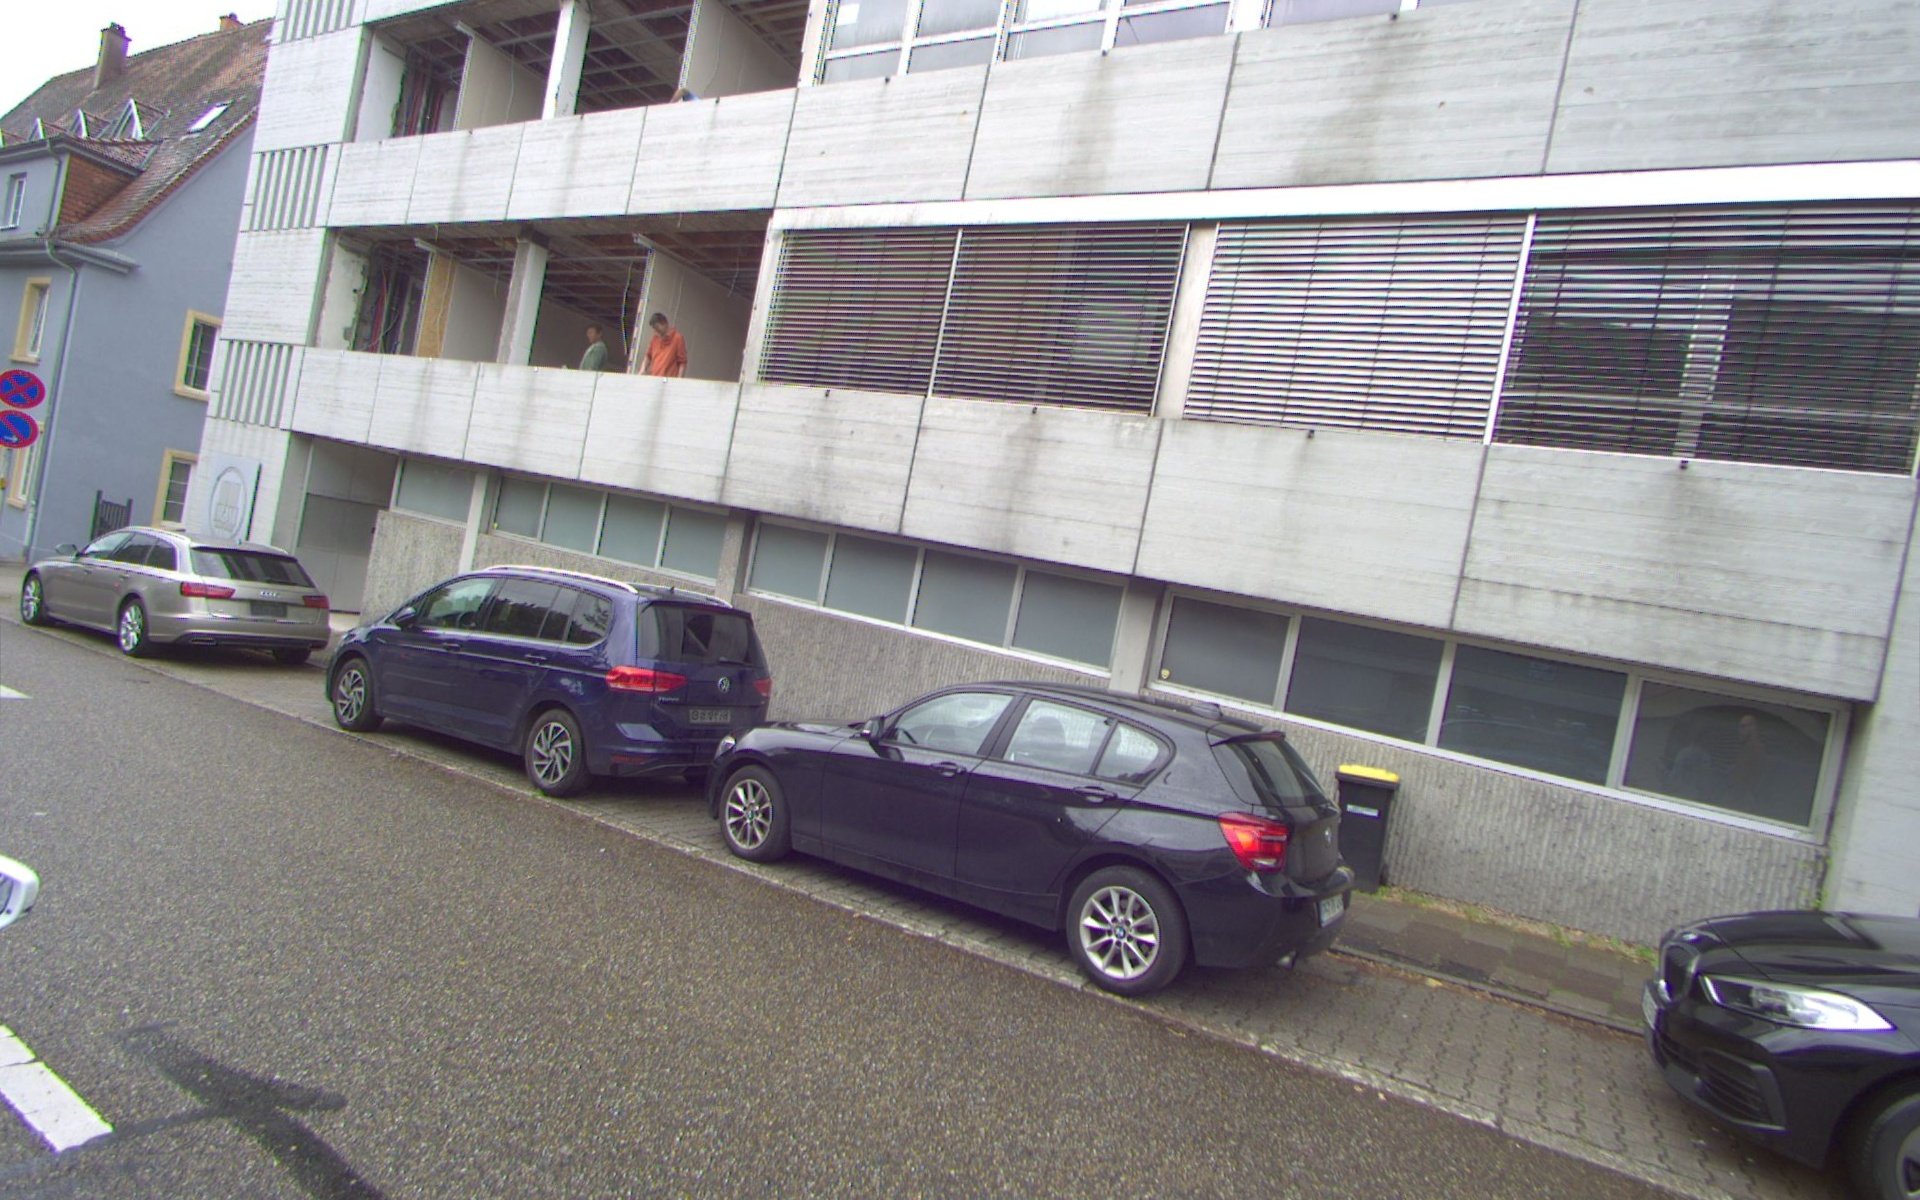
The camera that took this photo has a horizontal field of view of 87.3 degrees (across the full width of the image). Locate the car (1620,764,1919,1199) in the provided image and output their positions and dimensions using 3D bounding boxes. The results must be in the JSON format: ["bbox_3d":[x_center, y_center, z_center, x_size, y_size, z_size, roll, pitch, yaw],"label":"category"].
[{"bbox_3d":[5.090,1.772,3.526,4.367,1.452,1.997,7,0,30],"label":"car"}]

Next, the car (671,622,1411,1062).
[{"bbox_3d":[0.338,1.166,6.303,4.183,1.465,1.750,7,-1,34],"label":"car"}]

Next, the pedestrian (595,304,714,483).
[{"bbox_3d":[-3.950,-2.639,13.047,0.847,2.036,0.909,6,-2,31],"label":"pedestrian"}]

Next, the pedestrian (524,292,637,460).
[{"bbox_3d":[-5.255,-3.068,13.961,0.847,2.036,0.909,6,-2,31],"label":"pedestrian"}]

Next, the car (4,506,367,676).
[{"bbox_3d":[-9.800,-0.135,12.669,4.449,1.465,1.966,7,-1,30],"label":"car"}]

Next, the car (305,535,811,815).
[{"bbox_3d":[-3.523,0.525,8.644,4.090,1.618,1.732,7,-1,30],"label":"car"}]
